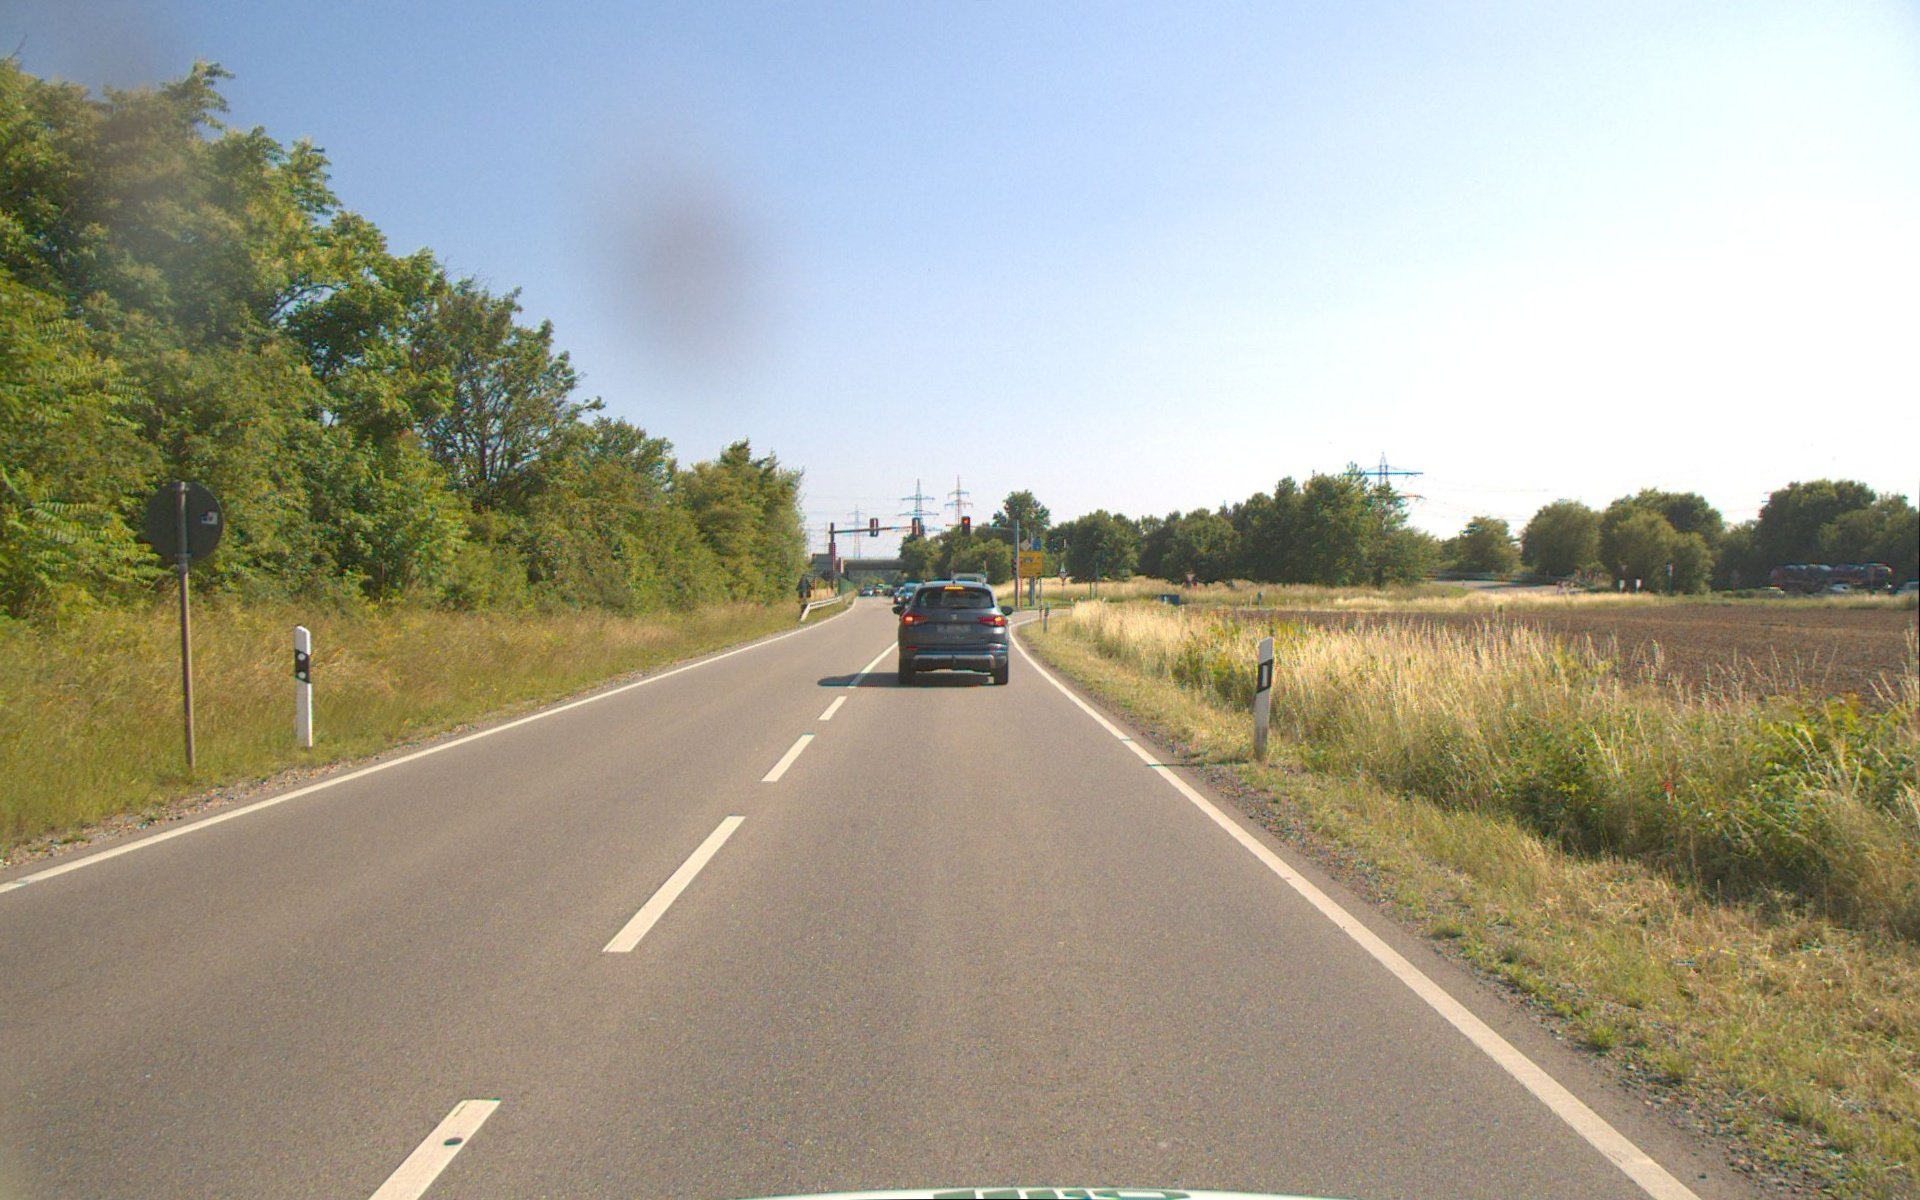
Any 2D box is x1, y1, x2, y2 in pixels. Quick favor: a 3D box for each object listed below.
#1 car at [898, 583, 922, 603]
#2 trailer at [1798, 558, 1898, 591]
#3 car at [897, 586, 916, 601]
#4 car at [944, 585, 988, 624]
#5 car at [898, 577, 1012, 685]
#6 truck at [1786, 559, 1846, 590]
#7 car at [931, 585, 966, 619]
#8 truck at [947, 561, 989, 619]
[{"bbox_3d":[-4.161,-0.587,137.484,1.780,1.567,3.997,0,1,-4],"label":"car"},{"bbox_3d":[95.205,-2.740,177.676,3.218,3.324,13.450,0,1,-2],"label":"trailer"},{"bbox_3d":[-5.117,-0.661,157.933,1.651,1.404,3.530,1,1,-4],"label":"car"},{"bbox_3d":[0.235,0.151,69.335,1.749,1.570,3.999,0,1,-1],"label":"car"},{"bbox_3d":[-0.100,0.444,27.268,1.749,1.657,4.000,0,1,-1],"label":"car"},{"bbox_3d":[94.992,-2.841,183.736,3.218,3.324,6.427,0,1,-2],"label":"truck"},{"bbox_3d":[-0.586,0.084,83.924,1.749,1.705,3.999,0,1,-1],"label":"car"},{"bbox_3d":[0.451,-0.519,92.128,2.289,3.119,5.809,1,0,0],"label":"truck"}]
